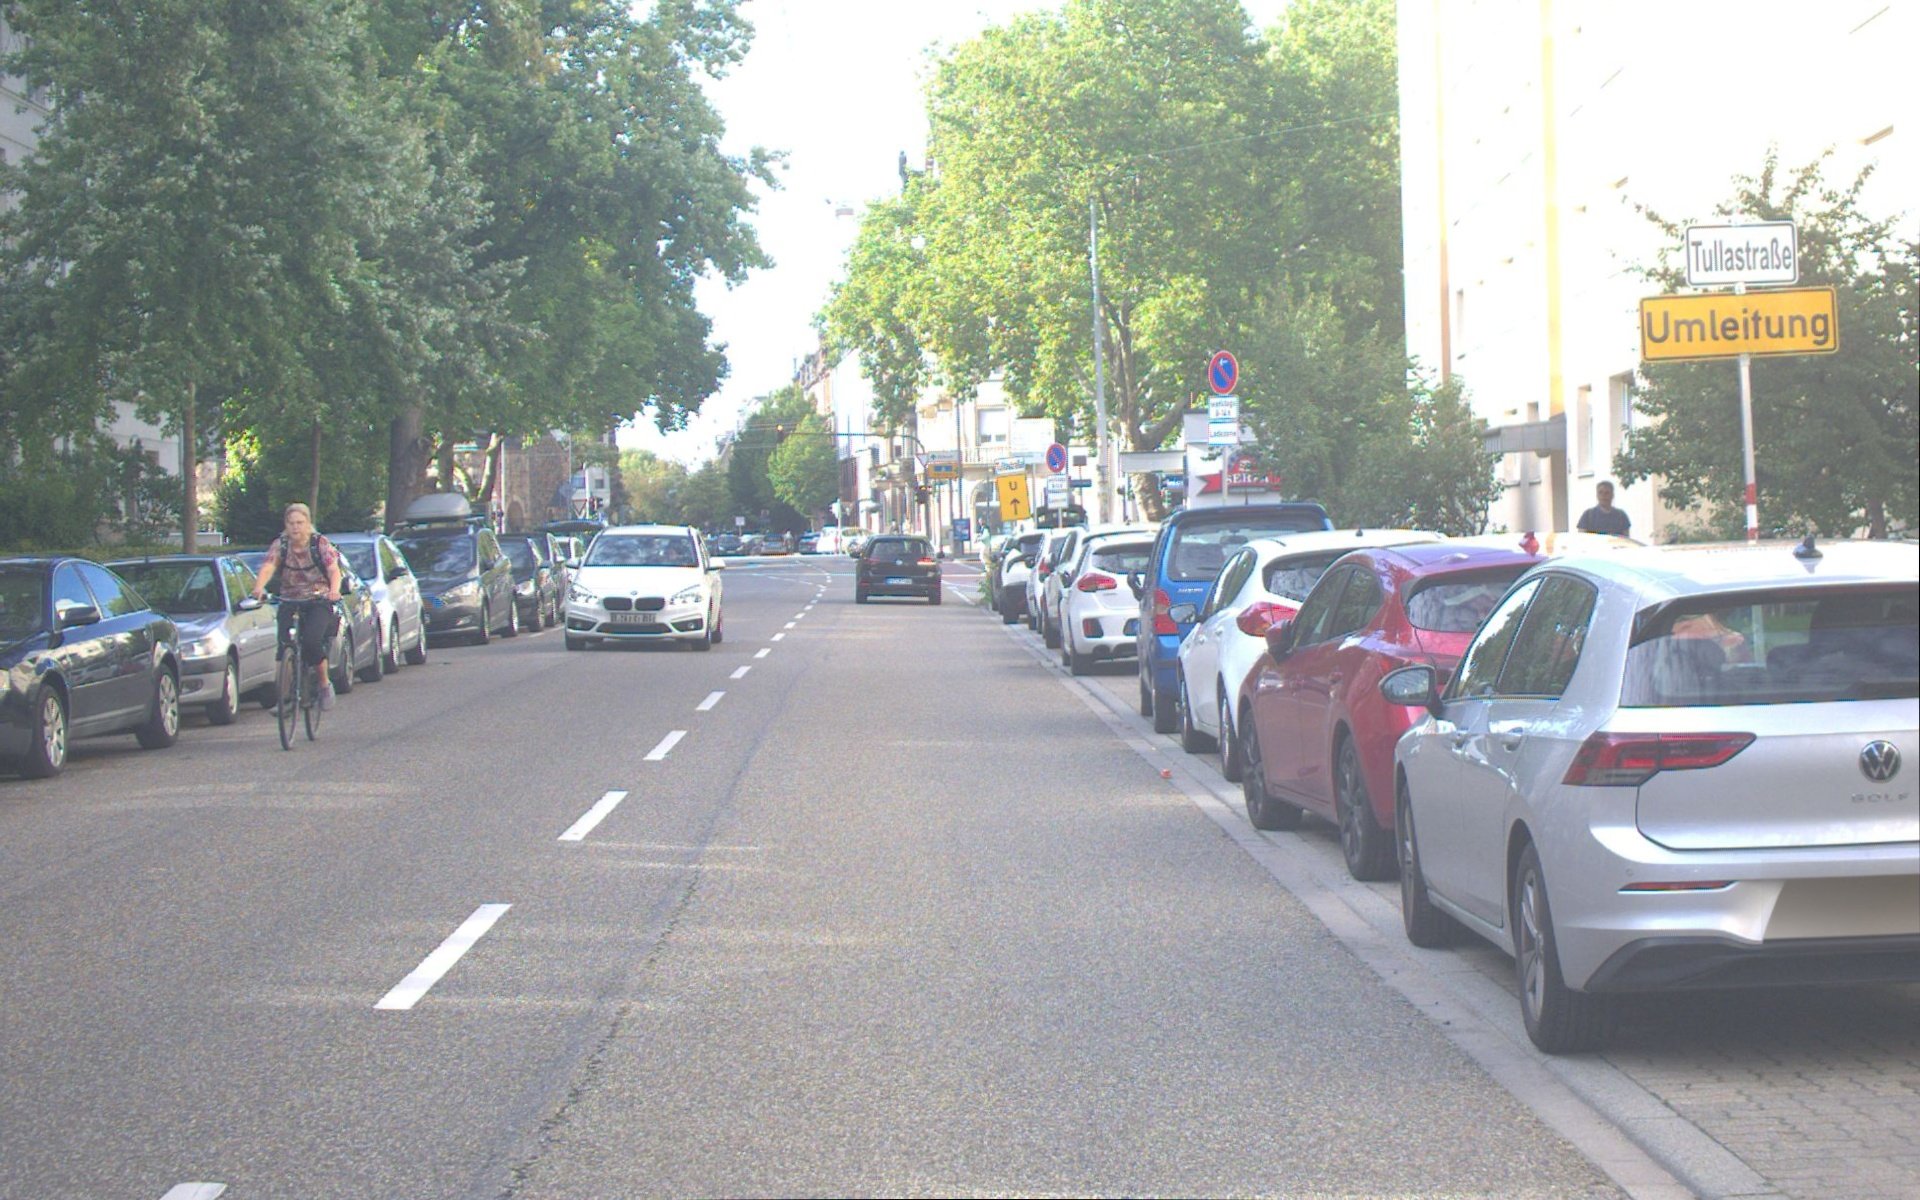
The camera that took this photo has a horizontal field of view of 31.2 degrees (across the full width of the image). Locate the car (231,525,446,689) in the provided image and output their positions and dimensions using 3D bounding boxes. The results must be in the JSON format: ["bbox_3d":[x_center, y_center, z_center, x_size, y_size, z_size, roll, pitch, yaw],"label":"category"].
[{"bbox_3d":[-6.984,0.036,39.007,1.738,1.614,3.995,-5,1,-2],"label":"car"}]

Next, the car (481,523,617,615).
[{"bbox_3d":[-7.362,-0.585,61.901,1.694,1.488,4.332,-3,2,2],"label":"car"}]

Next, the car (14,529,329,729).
[{"bbox_3d":[-6.538,0.185,28.909,1.600,1.414,3.964,-5,2,1],"label":"car"}]

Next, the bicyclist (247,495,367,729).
[{"bbox_3d":[-4.559,0.074,24.052,0.641,1.595,0.990,-1,1,-1],"label":"bicyclist"}]

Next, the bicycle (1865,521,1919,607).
[{"bbox_3d":[10.640,-0.409,38.615,0.458,0.924,1.517,-3,2,-2],"label":"bicycle"}]

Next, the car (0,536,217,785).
[{"bbox_3d":[-6.485,0.391,23.288,1.685,1.475,4.451,-5,1,2],"label":"car"}]

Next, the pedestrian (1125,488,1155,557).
[{"bbox_3d":[4.348,-1.872,83.054,0.652,1.639,0.743,-1,1,-1],"label":"pedestrian"}]

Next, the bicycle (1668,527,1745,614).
[{"bbox_3d":[8.384,-0.343,38.652,0.458,0.938,1.517,-3,2,-2],"label":"bicycle"}]

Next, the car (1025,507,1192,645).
[{"bbox_3d":[1.821,-0.334,43.213,1.728,1.575,4.118,-3,1,-2],"label":"car"}]

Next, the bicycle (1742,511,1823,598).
[{"bbox_3d":[9.193,-0.519,38.467,0.458,0.924,1.517,-3,2,-2],"label":"bicycle"}]

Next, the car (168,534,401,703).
[{"bbox_3d":[-6.599,0.133,33.951,1.614,1.463,4.014,-4,1,-3],"label":"car"}]

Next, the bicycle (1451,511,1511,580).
[{"bbox_3d":[8.771,-0.931,57.962,0.597,1.111,2.209,-3,2,-1],"label":"bicycle"}]

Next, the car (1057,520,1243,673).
[{"bbox_3d":[2.004,-0.084,37.378,1.728,1.482,4.642,-3,1,0],"label":"car"}]

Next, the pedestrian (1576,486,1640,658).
[{"bbox_3d":[6.543,-0.286,34.739,0.542,1.715,0.771,-1,1,4],"label":"pedestrian"}]

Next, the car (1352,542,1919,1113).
[{"bbox_3d":[2.411,0.568,11.131,1.661,1.411,4.059,-3,1,-1],"label":"car"}]

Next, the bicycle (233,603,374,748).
[{"bbox_3d":[-4.564,0.508,24.006,0.642,0.920,1.858,-1,1,-1],"label":"bicycle"}]

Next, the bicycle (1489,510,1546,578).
[{"bbox_3d":[9.391,-0.955,57.960,0.529,1.111,2.209,-3,2,-1],"label":"bicycle"}]

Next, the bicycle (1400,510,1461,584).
[{"bbox_3d":[7.947,-0.915,58.136,0.597,1.182,2.209,-5,2,-1],"label":"bicycle"}]

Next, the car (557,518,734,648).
[{"bbox_3d":[-3.953,-0.256,43.814,1.859,1.523,4.011,-1,2,0],"label":"car"}]

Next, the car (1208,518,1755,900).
[{"bbox_3d":[2.325,0.411,16.400,1.728,1.510,4.192,-3,1,-3],"label":"car"}]

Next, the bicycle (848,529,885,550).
[{"bbox_3d":[-5.332,-3.454,196.075,2.022,1.078,0.620,-2,2,-14],"label":"bicycle"}]

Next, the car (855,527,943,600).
[{"bbox_3d":[-1.280,-0.781,71.104,1.751,1.408,4.001,-1,2,-2],"label":"car"}]

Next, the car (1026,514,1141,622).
[{"bbox_3d":[1.832,-0.498,51.744,1.551,1.552,3.468,-1,1,-1],"label":"car"}]

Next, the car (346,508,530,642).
[{"bbox_3d":[-7.259,-0.390,48.221,1.799,1.662,4.483,-4,2,0],"label":"car"}]

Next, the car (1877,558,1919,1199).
[{"bbox_3d":[2.669,0.656,4.527,1.661,1.486,3.942,-3,1,-2],"label":"car"}]

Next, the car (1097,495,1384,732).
[{"bbox_3d":[2.126,0.053,27.061,1.728,1.644,4.117,-3,1,-2],"label":"car"}]

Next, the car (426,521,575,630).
[{"bbox_3d":[-7.039,-0.408,52.982,1.700,1.481,3.848,-4,2,0],"label":"car"}]

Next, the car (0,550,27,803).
[{"bbox_3d":[-6.506,0.558,18.470,1.685,1.475,4.119,-5,1,1],"label":"car"}]

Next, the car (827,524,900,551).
[{"bbox_3d":[-5.587,-3.609,198.471,3.986,1.415,2.001,-2,1,-8],"label":"car"}]

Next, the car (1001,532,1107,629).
[{"bbox_3d":[1.575,-0.355,57.506,1.690,1.523,4.237,-1,1,1],"label":"car"}]

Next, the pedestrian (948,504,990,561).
[{"bbox_3d":[0.271,-2.105,106.687,1.074,1.747,0.919,-1,1,-17],"label":"pedestrian"}]

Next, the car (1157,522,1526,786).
[{"bbox_3d":[2.341,0.270,22.046,1.728,1.456,4.117,-3,1,-2],"label":"car"}]

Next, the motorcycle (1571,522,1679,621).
[{"bbox_3d":[7.471,-0.344,38.742,0.630,1.041,2.394,-3,2,-2],"label":"motorcycle"}]
